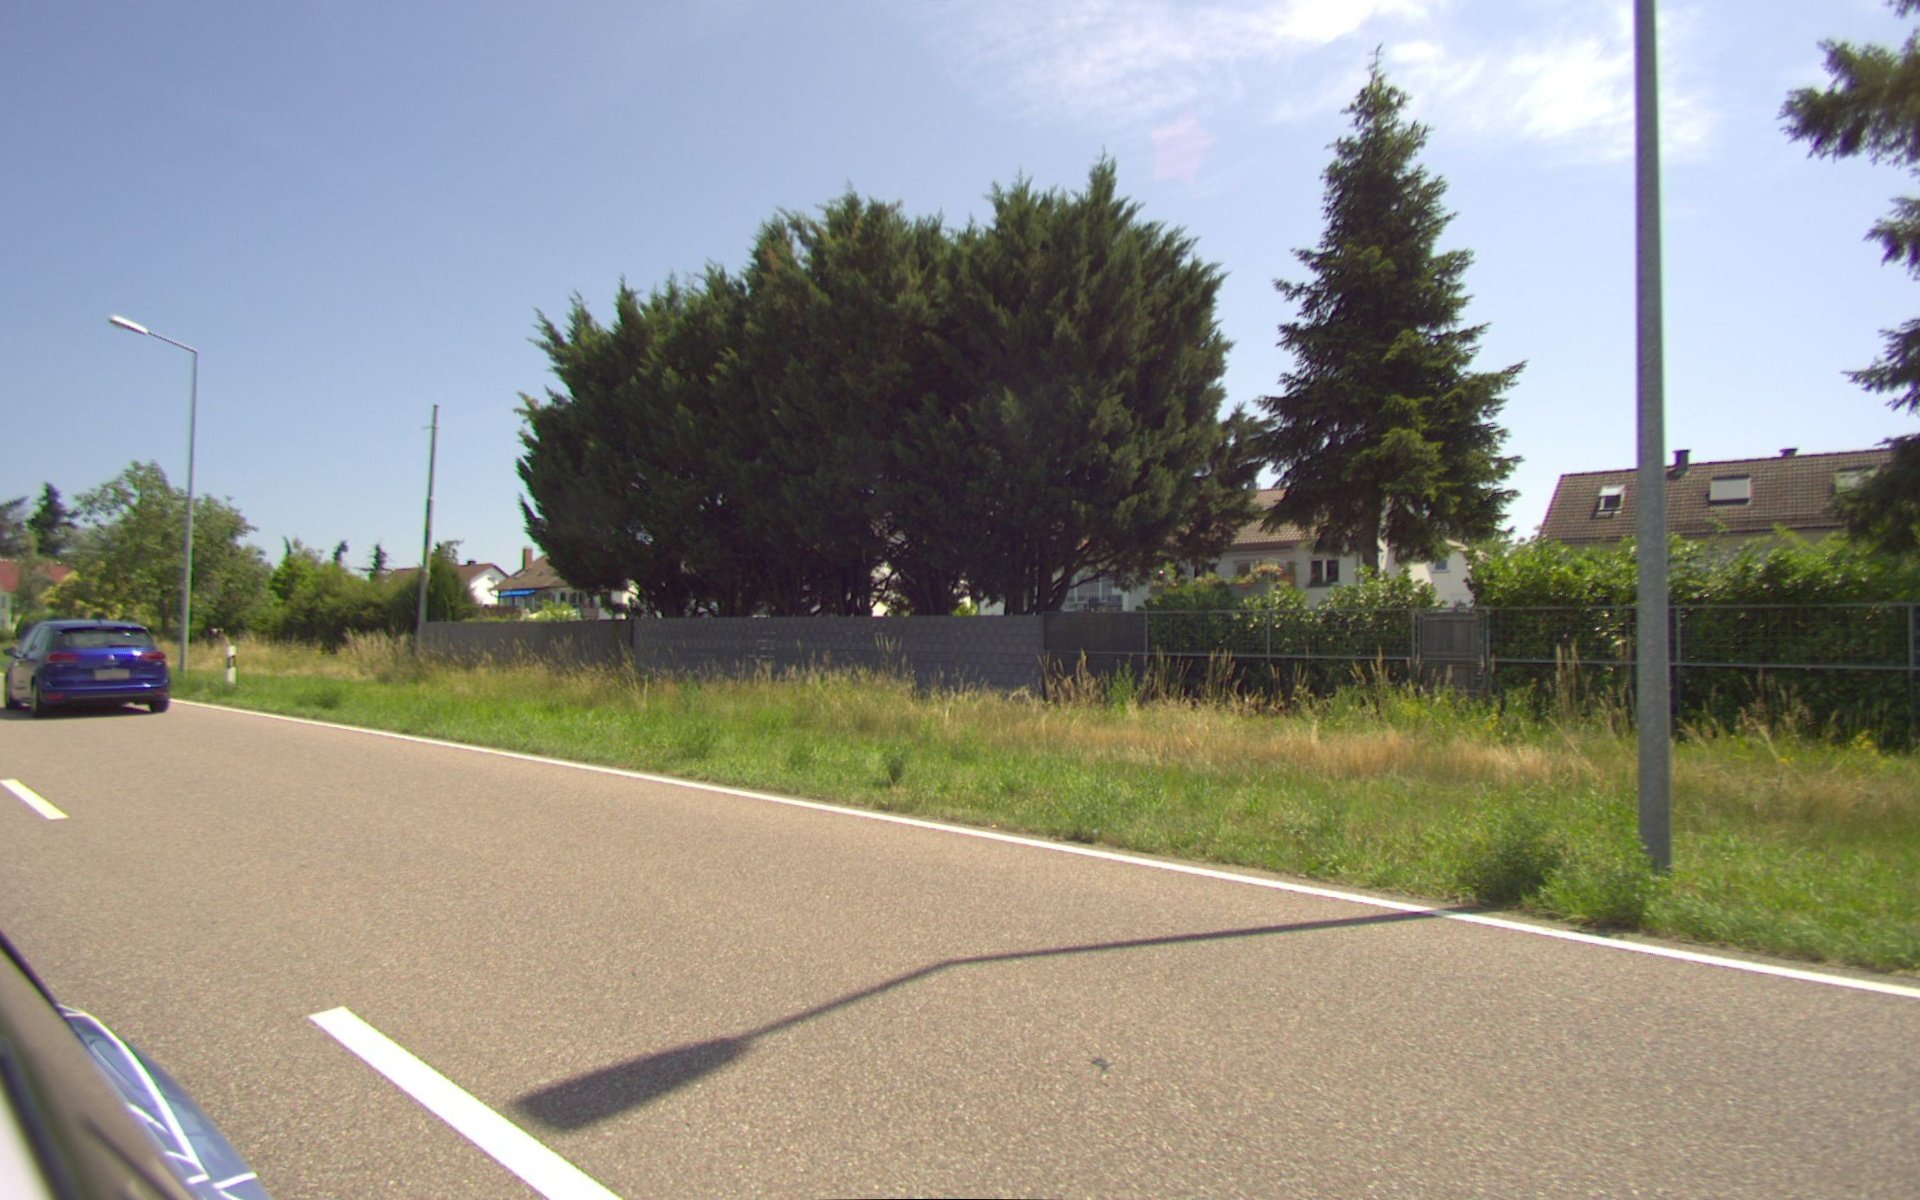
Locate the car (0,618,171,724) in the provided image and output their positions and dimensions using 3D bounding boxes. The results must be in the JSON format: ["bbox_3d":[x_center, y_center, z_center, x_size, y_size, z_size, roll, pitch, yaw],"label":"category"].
[{"bbox_3d":[-15.383,1.159,17.691,4.027,1.644,1.729,-1,-2,41],"label":"car"}]

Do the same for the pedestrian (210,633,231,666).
[{"bbox_3d":[-33.430,2.243,45.733,0.633,1.489,0.603,-2,-2,39],"label":"pedestrian"}]
